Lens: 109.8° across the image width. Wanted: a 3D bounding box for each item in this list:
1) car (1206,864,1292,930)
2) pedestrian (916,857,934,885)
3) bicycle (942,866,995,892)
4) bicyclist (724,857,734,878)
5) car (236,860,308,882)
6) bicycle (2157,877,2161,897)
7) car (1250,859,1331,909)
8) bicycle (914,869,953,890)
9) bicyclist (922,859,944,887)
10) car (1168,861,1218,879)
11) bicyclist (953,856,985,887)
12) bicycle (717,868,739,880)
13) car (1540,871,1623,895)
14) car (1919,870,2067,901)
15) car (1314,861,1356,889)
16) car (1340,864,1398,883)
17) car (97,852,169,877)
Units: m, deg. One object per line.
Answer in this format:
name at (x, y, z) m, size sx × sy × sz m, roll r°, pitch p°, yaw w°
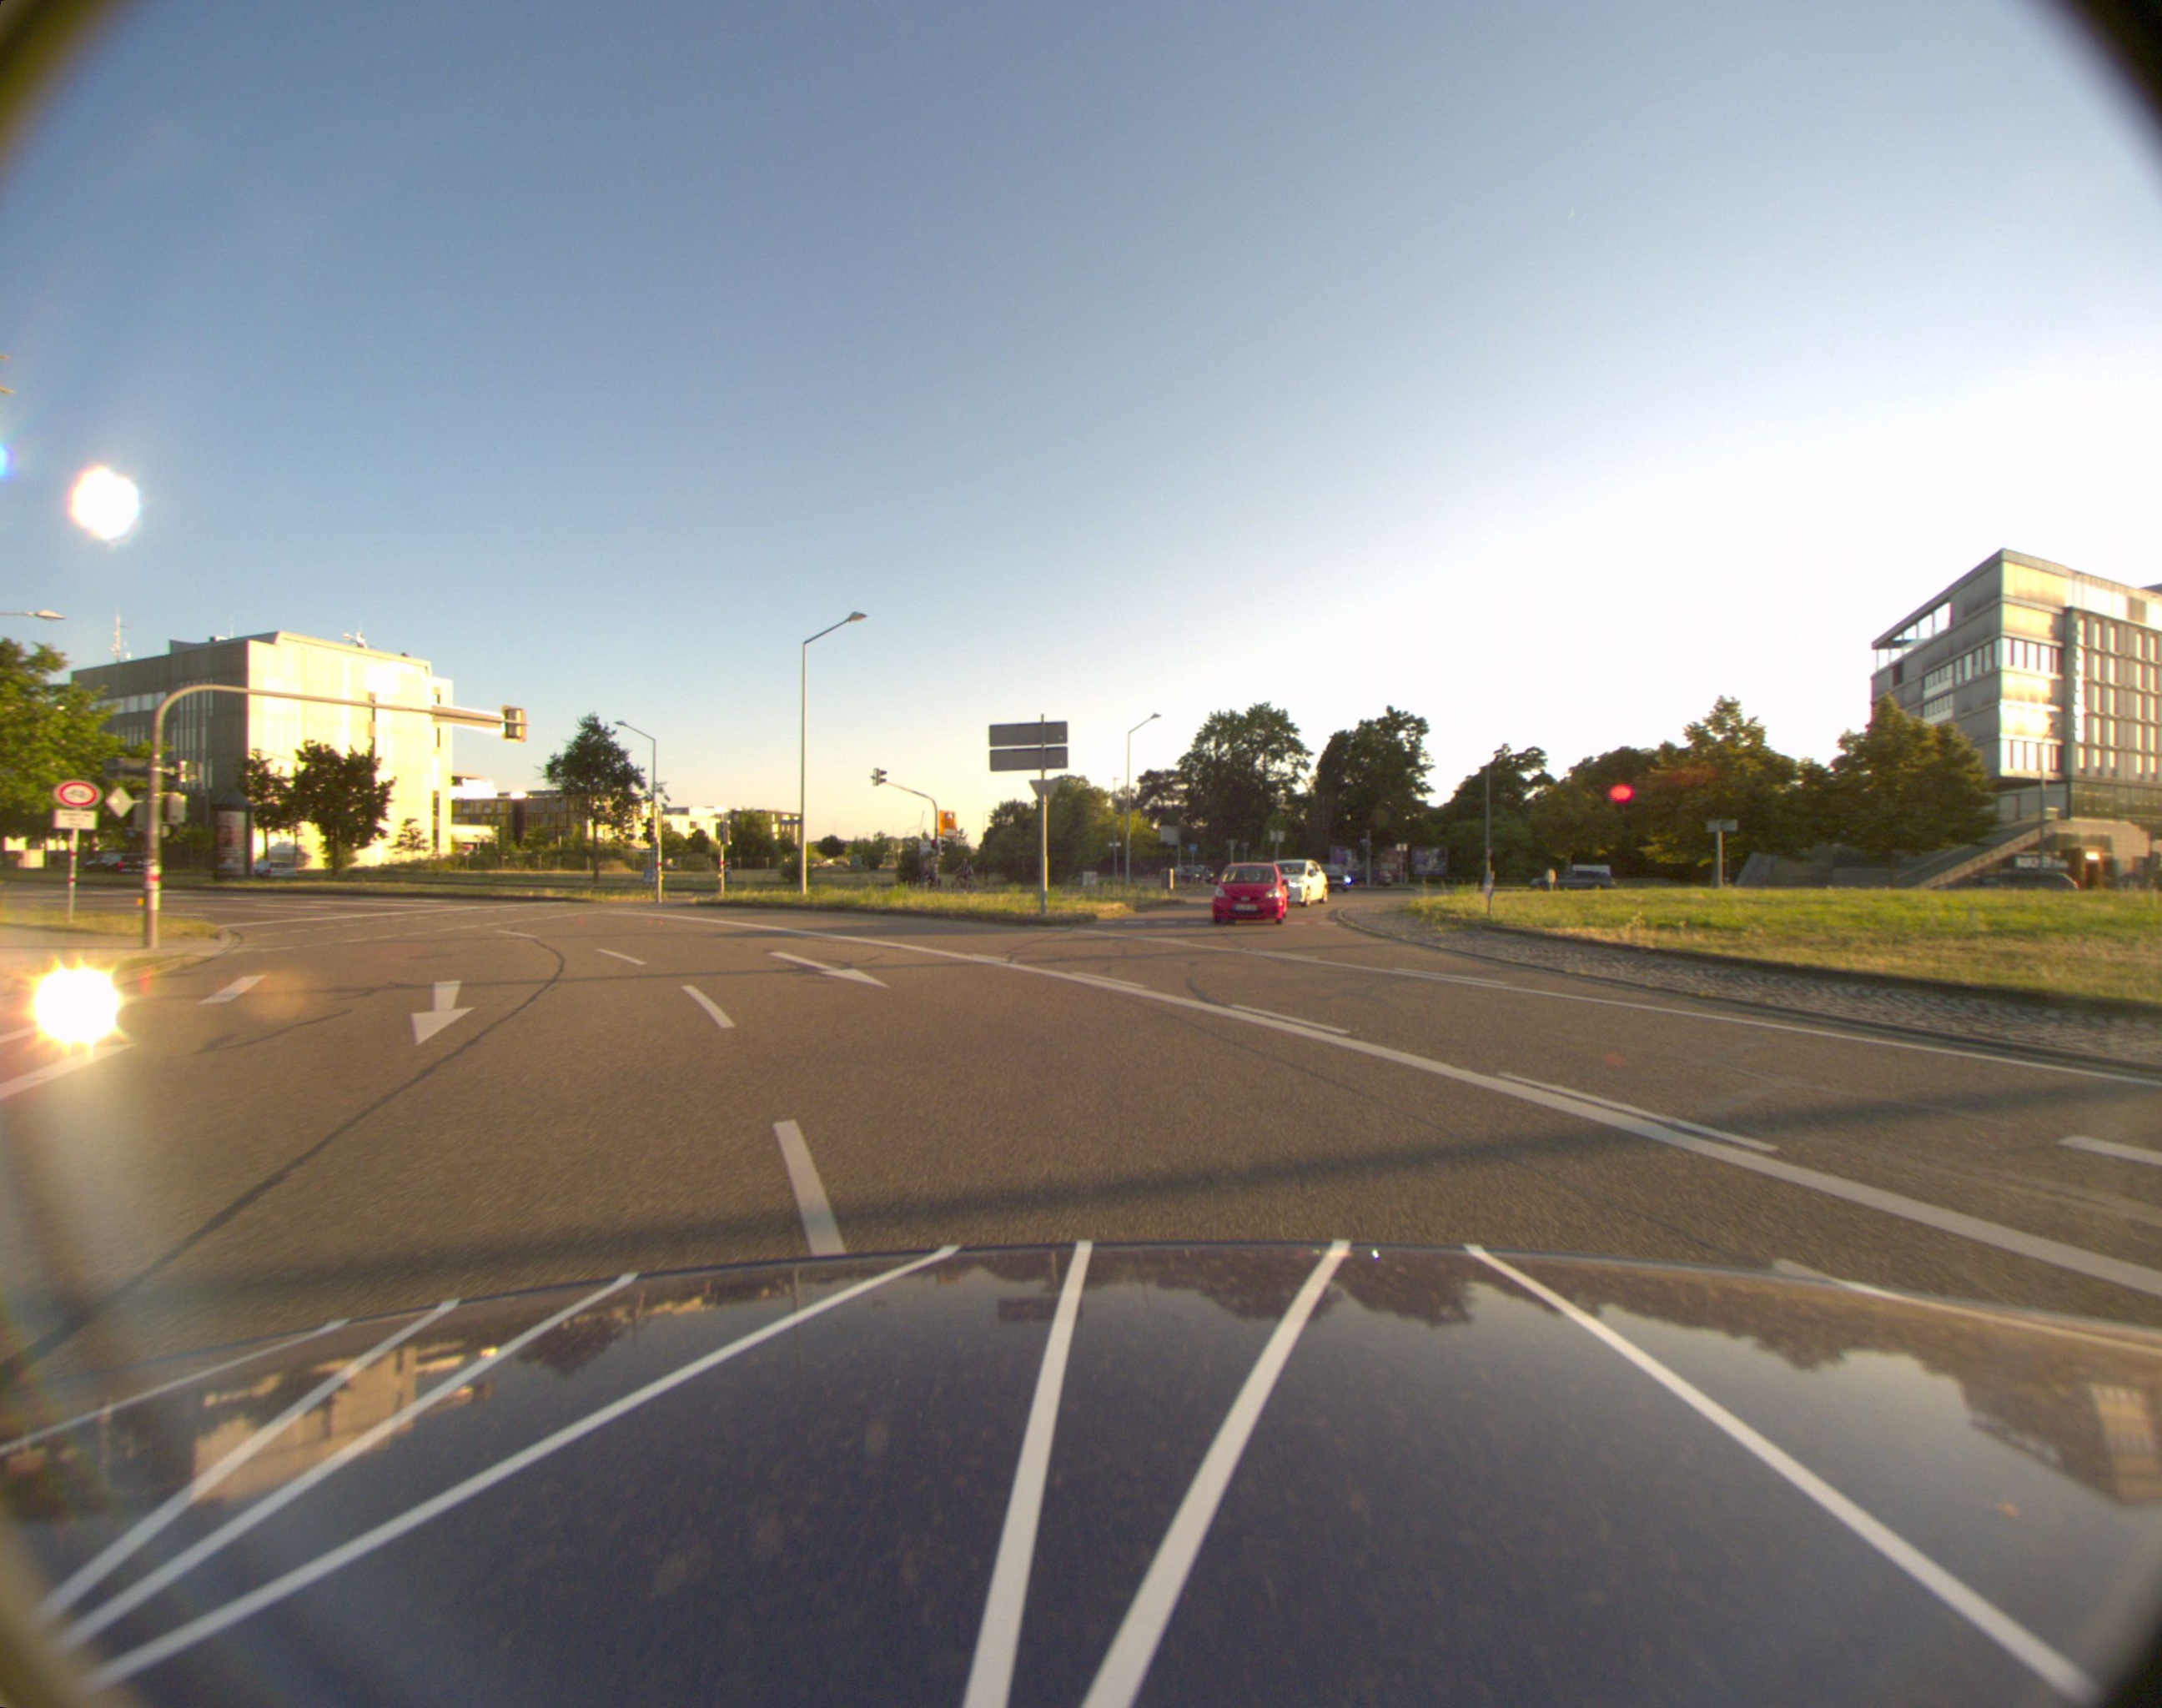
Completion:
car at (4.280, 0.973, 18.919) m, size 1.691 × 1.413 × 4.217 m, roll 0°, pitch 0°, yaw 18°
pedestrian at (-9.834, 1.064, 47.836) m, size 0.888 × 1.691 × 0.721 m, roll 0°, pitch 0°, yaw 15°
bicycle at (-6.436, 1.429, 43.740) m, size 1.121 × 1.387 × 3.546 m, roll 1°, pitch 0°, yaw 29°
bicyclist at (-24.423, 0.935, 52.696) m, size 0.447 × 1.389 × 0.474 m, roll 0°, pitch 0°, yaw 16°
car at (-57.741, 1.173, 54.264) m, size 4.122 × 1.538 × 2.003 m, roll 0°, pitch 0°, yaw 19°
bicycle at (62.913, 1.917, 42.907) m, size 0.756 × 1.160 × 2.404 m, roll 1°, pitch 0°, yaw -30°
car at (7.282, 0.966, 26.144) m, size 1.755 × 1.549 × 4.223 m, roll 0°, pitch 0°, yaw 29°
bicycle at (-8.486, 1.457, 43.848) m, size 0.808 × 1.172 × 2.334 m, roll 1°, pitch 0°, yaw 31°
bicyclist at (-8.522, 1.085, 43.744) m, size 0.808 × 1.623 × 1.003 m, roll 1°, pitch 0°, yaw 31°
car at (9.521, 1.358, 64.835) m, size 1.845 × 1.492 × 4.244 m, roll 0°, pitch 0°, yaw -33°
bicyclist at (-6.448, 0.997, 43.784) m, size 1.121 × 1.739 × 1.420 m, roll 1°, pitch 0°, yaw 29°
bicycle at (-24.493, 1.402, 52.721) m, size 1.416 × 0.787 × 0.474 m, roll 0°, pitch 0°, yaw 16°
car at (32.194, 1.840, 48.925) m, size 4.390 × 1.423 × 1.949 m, roll 0°, pitch -1°, yaw 36°
car at (45.134, 1.534, 37.770) m, size 4.390 × 1.423 × 1.949 m, roll 0°, pitch -1°, yaw 39°
car at (14.843, 1.204, 44.215) m, size 1.824 × 1.549 × 4.222 m, roll 0°, pitch 0°, yaw 25°
car at (22.354, 1.473, 58.981) m, size 3.739 × 1.423 × 1.949 m, roll -1°, pitch -1°, yaw 45°
car at (-68.167, 0.777, 54.648) m, size 4.122 × 1.740 × 2.003 m, roll 0°, pitch 0°, yaw 19°
